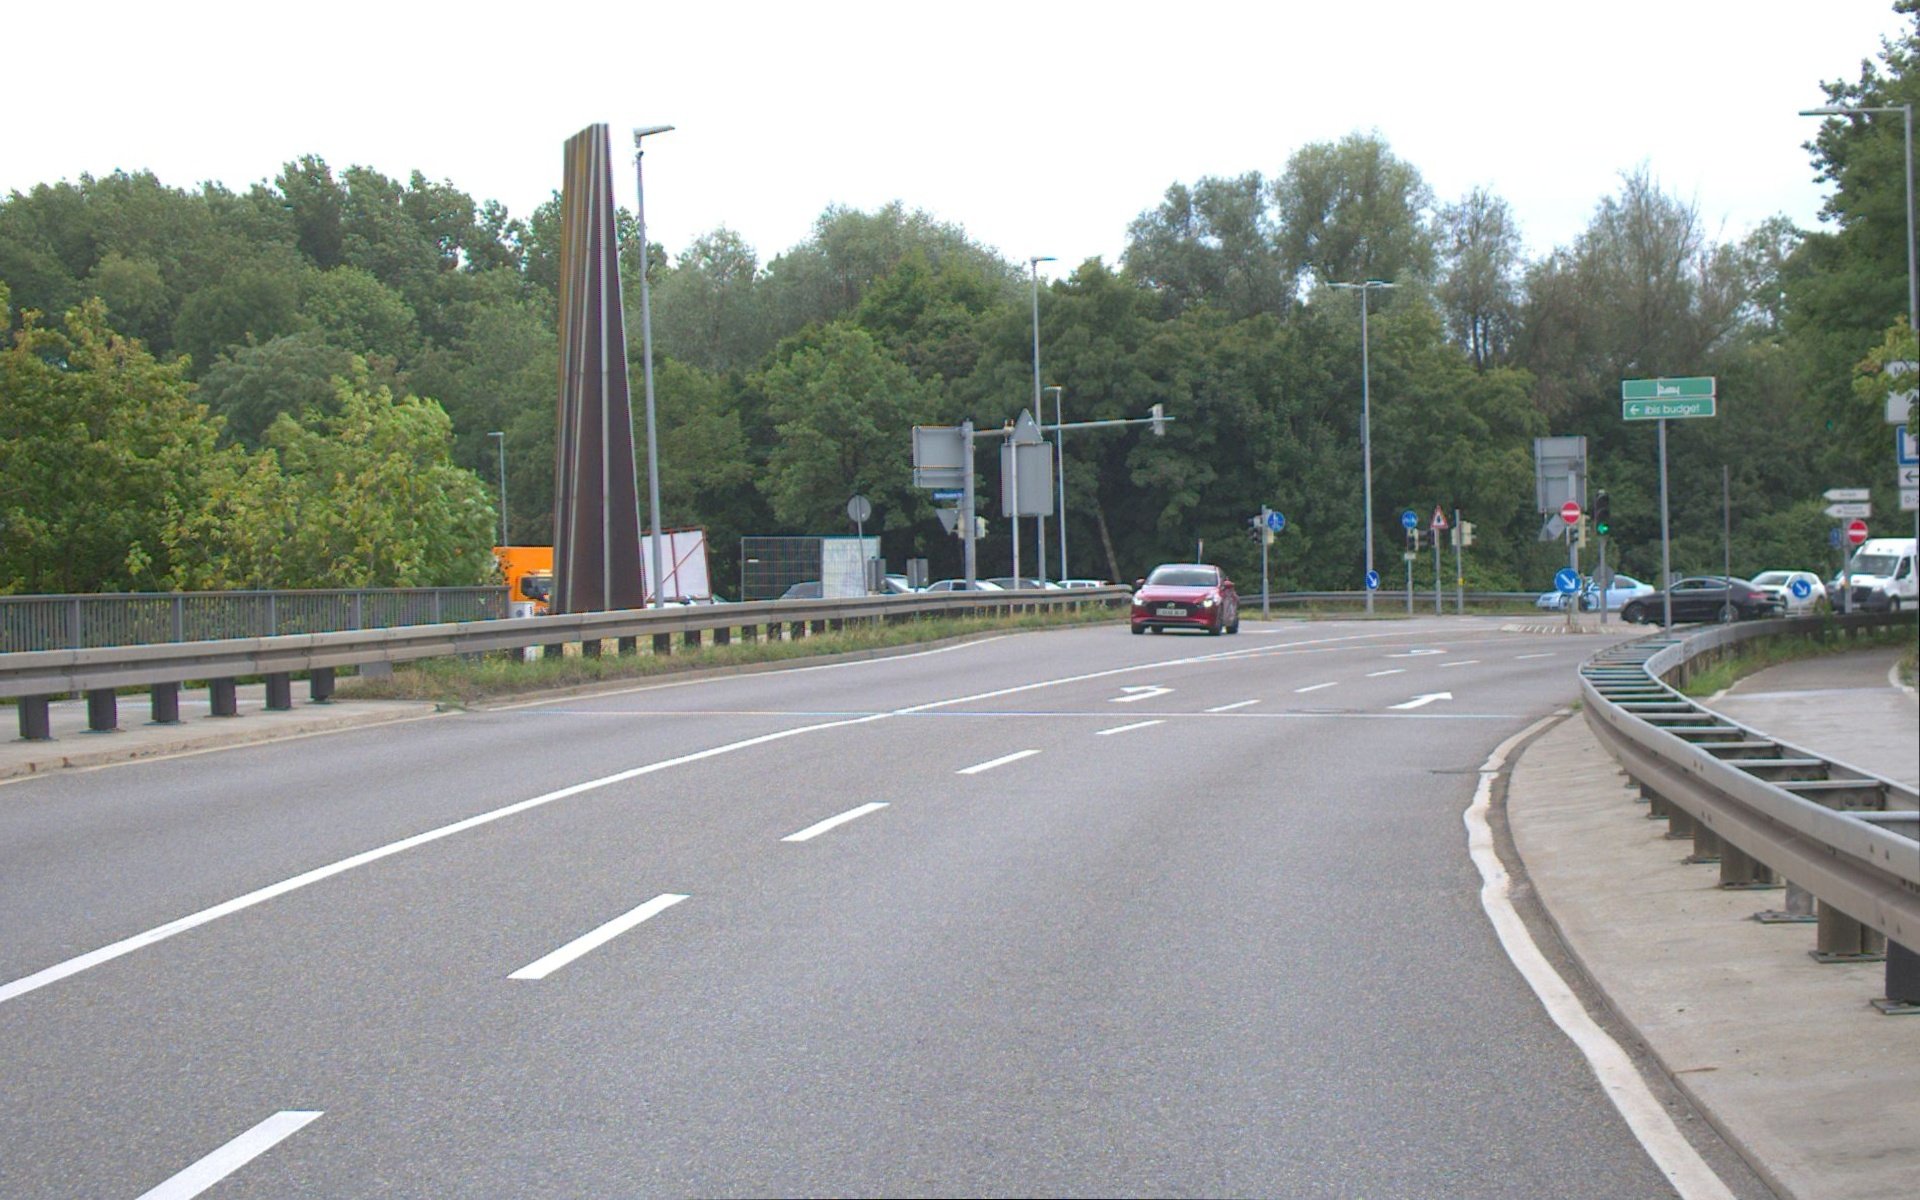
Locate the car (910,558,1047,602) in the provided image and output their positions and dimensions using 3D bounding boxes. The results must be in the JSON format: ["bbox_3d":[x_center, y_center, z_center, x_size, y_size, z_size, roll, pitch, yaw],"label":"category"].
[{"bbox_3d":[0.559,-0.613,105.243,3.803,1.306,1.995,1,1,40],"label":"car"}]

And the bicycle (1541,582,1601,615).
[{"bbox_3d":[20.339,-0.061,114.520,0.706,1.049,1.944,0,-2,-40],"label":"bicycle"}]

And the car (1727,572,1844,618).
[{"bbox_3d":[28.389,-0.184,118.170,1.998,1.541,4.527,1,1,42],"label":"car"}]

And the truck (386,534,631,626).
[{"bbox_3d":[-15.981,-0.744,121.204,9.267,3.125,2.965,1,1,39],"label":"truck"}]

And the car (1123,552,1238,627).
[{"bbox_3d":[4.535,-0.229,70.236,1.796,1.467,4.634,1,0,10],"label":"car"}]

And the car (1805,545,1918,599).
[{"bbox_3d":[31.977,-0.991,121.914,4.156,1.896,1.999,0,1,-44],"label":"car"}]

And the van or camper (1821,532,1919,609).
[{"bbox_3d":[31.927,-0.989,117.073,2.166,2.580,6.479,1,1,43],"label":"van or camper"}]

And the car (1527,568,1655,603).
[{"bbox_3d":[22.465,-0.525,122.381,4.210,1.201,2.000,0,0,-32],"label":"car"}]
